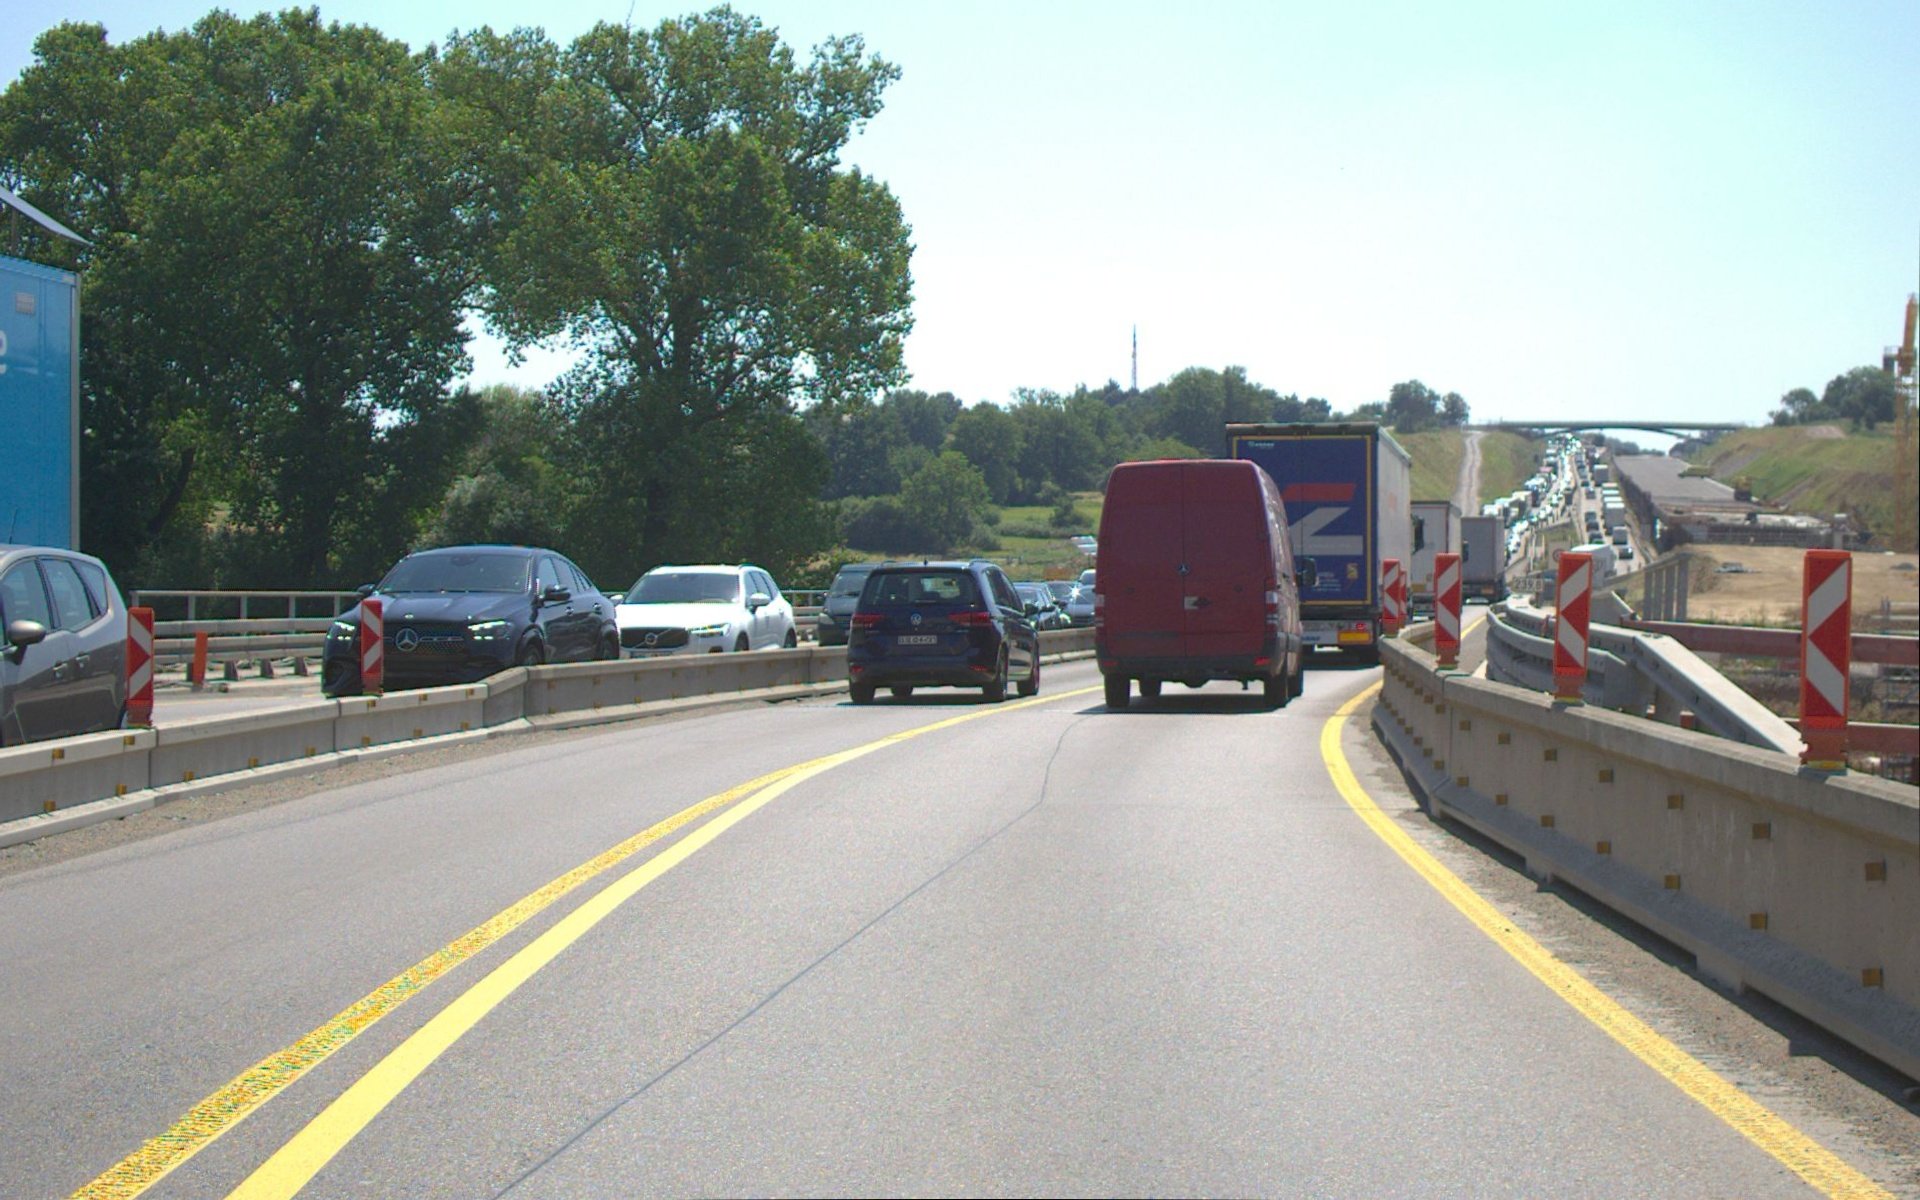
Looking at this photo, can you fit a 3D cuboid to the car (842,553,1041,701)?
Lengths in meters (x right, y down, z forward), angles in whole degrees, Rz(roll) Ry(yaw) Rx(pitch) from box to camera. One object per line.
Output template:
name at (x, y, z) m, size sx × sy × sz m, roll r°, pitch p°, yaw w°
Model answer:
car at (-0.164, 0.303, 40.685) m, size 1.734 × 1.630 × 4.388 m, roll 1°, pitch 0°, yaw 8°

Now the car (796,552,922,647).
car at (-2.134, -0.025, 74.227) m, size 1.821 × 1.936 × 5.062 m, roll 1°, pitch 0°, yaw 9°

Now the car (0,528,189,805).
car at (-6.266, 0.355, 20.759) m, size 1.821 × 1.579 × 4.300 m, roll 1°, pitch 1°, yaw 6°

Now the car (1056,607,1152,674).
car at (3.423, 0.939, 81.168) m, size 1.757 × 1.491 × 4.438 m, roll 1°, pitch 0°, yaw 9°

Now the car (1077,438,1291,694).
car at (2.542, -0.290, 38.333) m, size 2.150 × 2.602 × 5.437 m, roll 1°, pitch -1°, yaw 5°

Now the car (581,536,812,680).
car at (-3.278, 0.048, 43.687) m, size 1.821 × 1.641 × 4.569 m, roll 1°, pitch 2°, yaw 10°

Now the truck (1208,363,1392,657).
truck at (6.118, -1.523, 61.067) m, size 2.946 × 4.929 × 6.739 m, roll 0°, pitch 0°, yaw 8°

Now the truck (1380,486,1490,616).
truck at (15.135, -1.523, 109.218) m, size 3.183 × 3.976 × 6.738 m, roll 0°, pitch 0°, yaw 10°

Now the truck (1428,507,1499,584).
truck at (24.040, -2.556, 163.907) m, size 3.185 × 2.967 × 8.894 m, roll 0°, pitch -3°, yaw 9°

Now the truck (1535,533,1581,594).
truck at (32.142, -1.954, 184.887) m, size 2.292 × 3.185 × 6.480 m, roll 0°, pitch 0°, yaw 8°

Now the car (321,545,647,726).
car at (-4.622, 0.306, 34.126) m, size 1.881 × 1.641 × 4.713 m, roll 1°, pitch 1°, yaw 9°

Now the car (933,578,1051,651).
car at (0.665, 0.268, 67.374) m, size 1.669 × 1.360 × 4.438 m, roll 1°, pitch 0°, yaw 9°

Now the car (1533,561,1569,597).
car at (28.359, -0.987, 164.995) m, size 1.618 × 1.694 × 3.888 m, roll 1°, pitch 0°, yaw 9°

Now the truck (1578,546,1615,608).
truck at (42.492, -1.508, 229.698) m, size 2.292 × 3.726 × 6.478 m, roll 0°, pitch -3°, yaw 9°

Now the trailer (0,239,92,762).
trailer at (-9.682, -0.877, 23.581) m, size 2.648 × 4.278 × 13.305 m, roll 2°, pitch 0°, yaw 6°
